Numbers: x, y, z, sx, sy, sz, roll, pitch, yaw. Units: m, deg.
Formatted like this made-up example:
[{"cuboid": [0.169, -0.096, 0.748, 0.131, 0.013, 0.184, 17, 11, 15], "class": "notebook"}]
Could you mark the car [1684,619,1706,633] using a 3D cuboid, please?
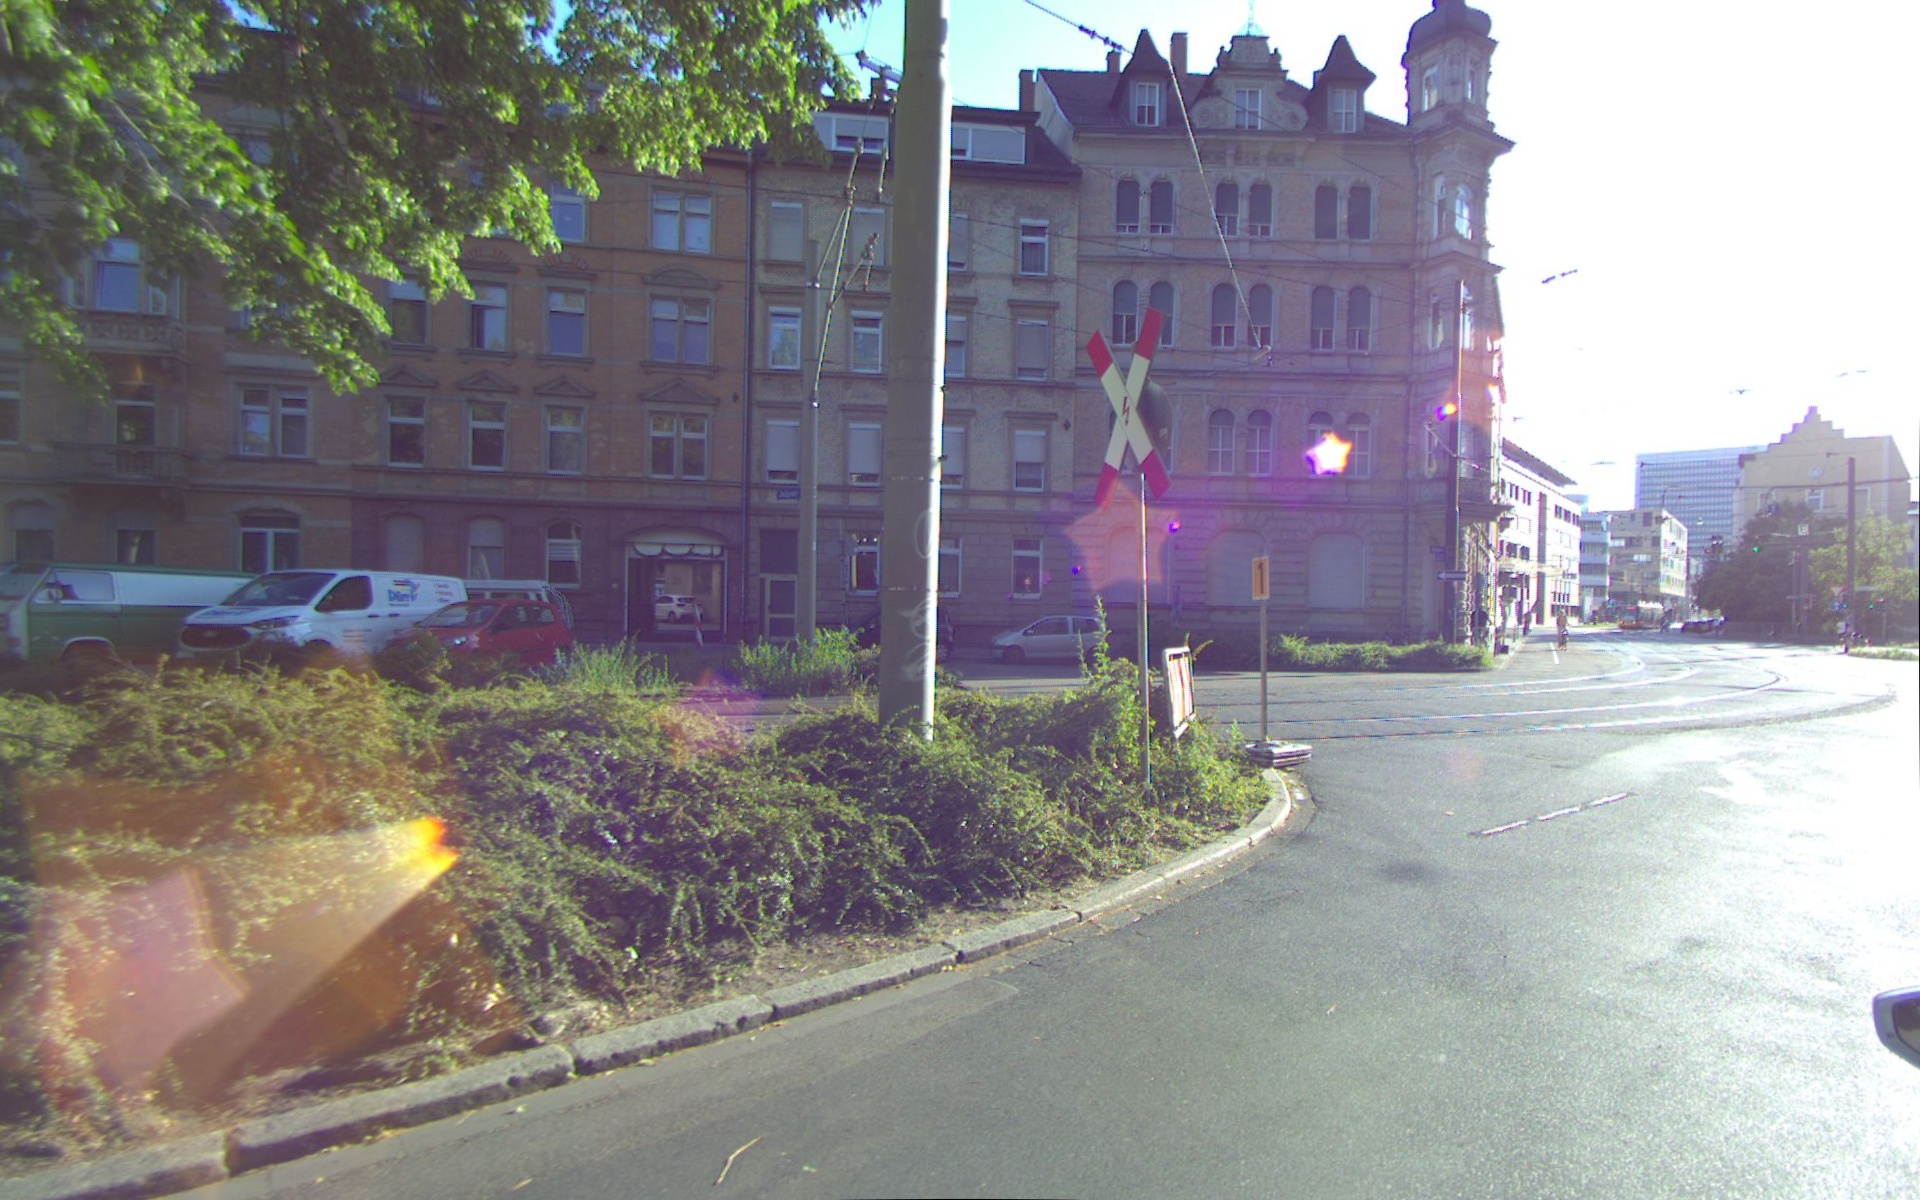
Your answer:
[{"cuboid": [86.786, 3.059, 118.571, 1.969, 1.506, 3.983, 1, -1, 39], "class": "car"}]

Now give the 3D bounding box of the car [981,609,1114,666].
[{"cuboid": [2.422, 1.051, 28.368, 3.430, 1.448, 1.854, 1, 2, -7], "class": "car"}]

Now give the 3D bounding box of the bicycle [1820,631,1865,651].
[{"cuboid": [48.361, 2.244, 55.064, 1.809, 0.998, 0.731, 1, 0, 36], "class": "bicycle"}]

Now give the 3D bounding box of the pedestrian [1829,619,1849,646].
[{"cuboid": [57.287, 2.096, 65.499, 0.915, 1.714, 0.774, 1, 0, 39], "class": "pedestrian"}]

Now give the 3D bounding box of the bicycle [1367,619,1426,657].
[{"cuboid": [14.634, 1.267, 33.682, 1.757, 1.222, 0.502, 1, 3, -4], "class": "bicycle"}]

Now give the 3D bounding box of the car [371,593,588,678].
[{"cuboid": [-8.469, 0.595, 18.064, 1.681, 1.347, 3.636, 1, -1, 10], "class": "car"}]

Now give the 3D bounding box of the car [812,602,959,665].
[{"cuboid": [-2.090, 0.898, 27.882, 3.806, 1.584, 1.851, 0, 2, -15], "class": "car"}]

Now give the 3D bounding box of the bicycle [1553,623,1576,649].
[{"cuboid": [28.677, 1.714, 47.666, 0.869, 1.171, 2.319, 1, 0, 30], "class": "bicycle"}]

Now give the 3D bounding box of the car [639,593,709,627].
[{"cuboid": [-15.161, 0.483, 53.158, 3.451, 1.595, 1.850, 3, 3, 36], "class": "car"}]

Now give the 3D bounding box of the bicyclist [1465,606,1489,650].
[{"cuboid": [17.842, 0.962, 34.650, 0.585, 1.511, 0.699, 1, 0, 41], "class": "bicyclist"}]

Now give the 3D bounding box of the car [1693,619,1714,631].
[{"cuboid": [96.483, 3.222, 130.365, 1.969, 1.506, 3.983, 1, -1, 39], "class": "car"}]

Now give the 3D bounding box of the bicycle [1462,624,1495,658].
[{"cuboid": [17.924, 1.410, 34.716, 0.495, 1.148, 2.115, 1, -1, 41], "class": "bicycle"}]

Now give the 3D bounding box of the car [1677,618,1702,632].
[{"cuboid": [80.146, 2.753, 110.318, 1.969, 1.483, 3.983, 1, -1, 39], "class": "car"}]

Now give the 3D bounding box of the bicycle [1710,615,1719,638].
[{"cuboid": [60.093, 2.096, 80.025, 0.558, 1.830, 1.353, 1, 0, 37], "class": "bicycle"}]

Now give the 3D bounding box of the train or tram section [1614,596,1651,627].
[{"cuboid": [84.448, 1.494, 126.034, 2.215, 3.622, 14.208, 1, -1, 40], "class": "train or tram section"}]

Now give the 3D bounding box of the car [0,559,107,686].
[{"cuboid": [-16.494, 0.334, 15.984, 1.960, 2.040, 4.000, 1, -1, 19], "class": "car"}]

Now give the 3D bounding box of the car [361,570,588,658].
[{"cuboid": [-12.240, 0.323, 25.698, 4.916, 2.091, 1.851, 0, 2, -15], "class": "car"}]

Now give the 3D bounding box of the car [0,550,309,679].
[{"cuboid": [-13.653, 0.229, 16.492, 2.043, 1.788, 4.839, 1, -1, 15], "class": "car"}]

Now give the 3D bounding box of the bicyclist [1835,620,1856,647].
[{"cuboid": [48.481, 1.829, 55.012, 0.793, 1.432, 0.622, 1, -1, 36], "class": "bicyclist"}]

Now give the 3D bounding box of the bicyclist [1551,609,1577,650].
[{"cuboid": [28.827, 1.409, 47.932, 1.014, 1.916, 1.110, 1, -1, 31], "class": "bicyclist"}]

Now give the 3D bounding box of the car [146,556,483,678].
[{"cuboid": [-10.848, 0.280, 17.494, 2.042, 1.788, 5.063, 1, -1, 9], "class": "car"}]

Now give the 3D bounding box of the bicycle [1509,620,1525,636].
[{"cuboid": [39.499, 1.974, 71.198, 0.932, 1.112, 1.995, 1, -1, 30], "class": "bicycle"}]
